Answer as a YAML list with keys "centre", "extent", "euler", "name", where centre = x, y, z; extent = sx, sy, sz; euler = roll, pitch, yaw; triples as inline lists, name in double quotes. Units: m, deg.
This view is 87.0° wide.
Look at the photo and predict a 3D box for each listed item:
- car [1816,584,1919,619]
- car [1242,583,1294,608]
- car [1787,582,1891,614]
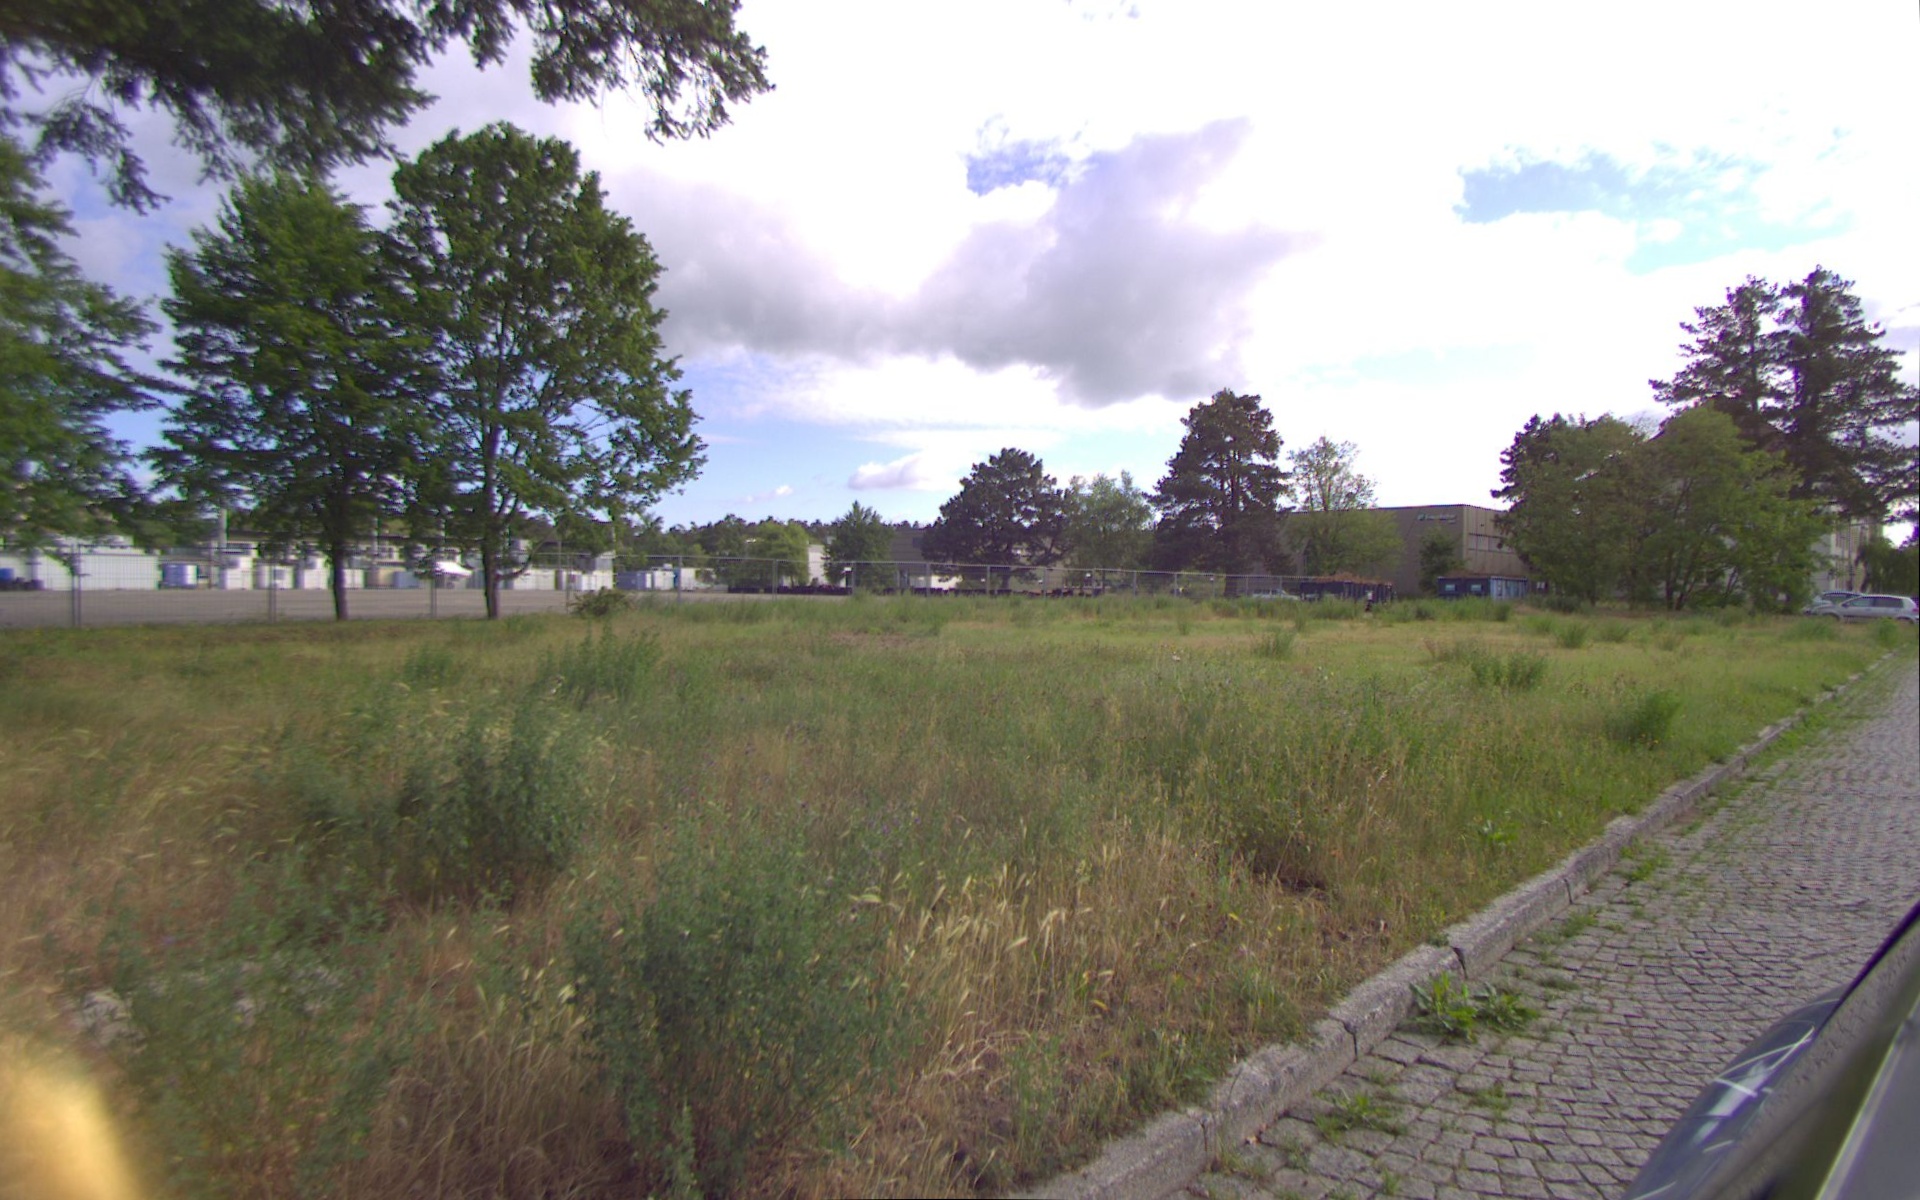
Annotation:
- centre: [40.072, 0.070, 44.430]
  extent: [3.717, 1.456, 1.602]
  euler: [-1, 0, 43]
  name: "car"
- centre: [25.614, -0.401, 84.308]
  extent: [3.705, 1.928, 1.997]
  euler: [2, 0, 6]
  name: "car"
- centre: [42.735, -0.098, 49.323]
  extent: [3.712, 1.456, 1.604]
  euler: [-2, 0, 39]
  name: "car"
